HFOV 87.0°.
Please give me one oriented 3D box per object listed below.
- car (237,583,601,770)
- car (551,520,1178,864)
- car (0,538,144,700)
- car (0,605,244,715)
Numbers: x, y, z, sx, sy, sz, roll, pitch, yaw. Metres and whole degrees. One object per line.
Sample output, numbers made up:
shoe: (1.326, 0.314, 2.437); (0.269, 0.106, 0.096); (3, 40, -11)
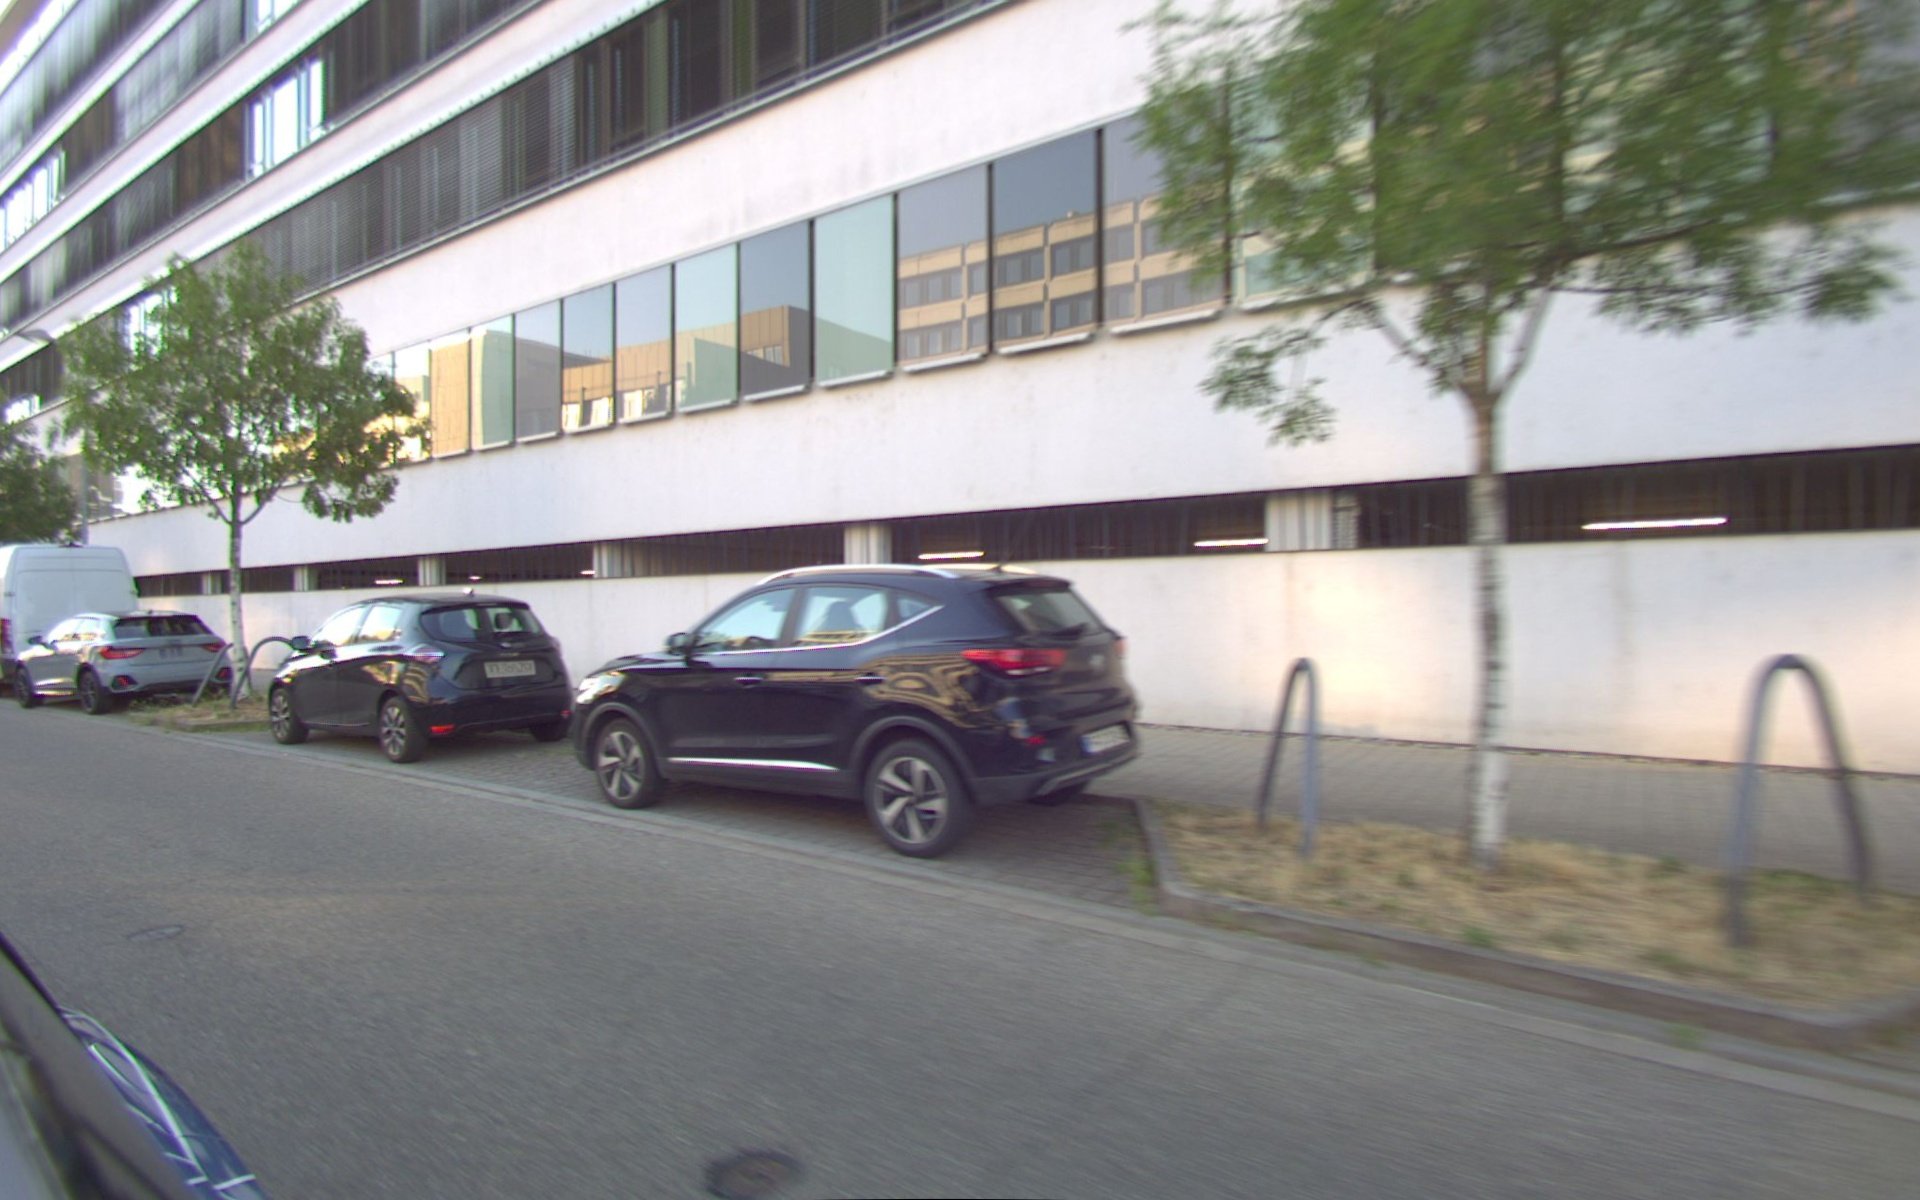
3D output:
car: (-5.745, 0.693, 10.594); (4.034, 1.572, 1.741); (-2, 1, 36)
car: (-0.758, 0.464, 6.742); (3.939, 1.666, 1.741); (-2, 1, 35)
car: (-17.861, 0.355, 19.177); (6.878, 2.636, 1.941); (-2, 1, 36)
car: (-12.933, 0.868, 15.523); (3.887, 1.450, 1.743); (-2, 1, 31)
